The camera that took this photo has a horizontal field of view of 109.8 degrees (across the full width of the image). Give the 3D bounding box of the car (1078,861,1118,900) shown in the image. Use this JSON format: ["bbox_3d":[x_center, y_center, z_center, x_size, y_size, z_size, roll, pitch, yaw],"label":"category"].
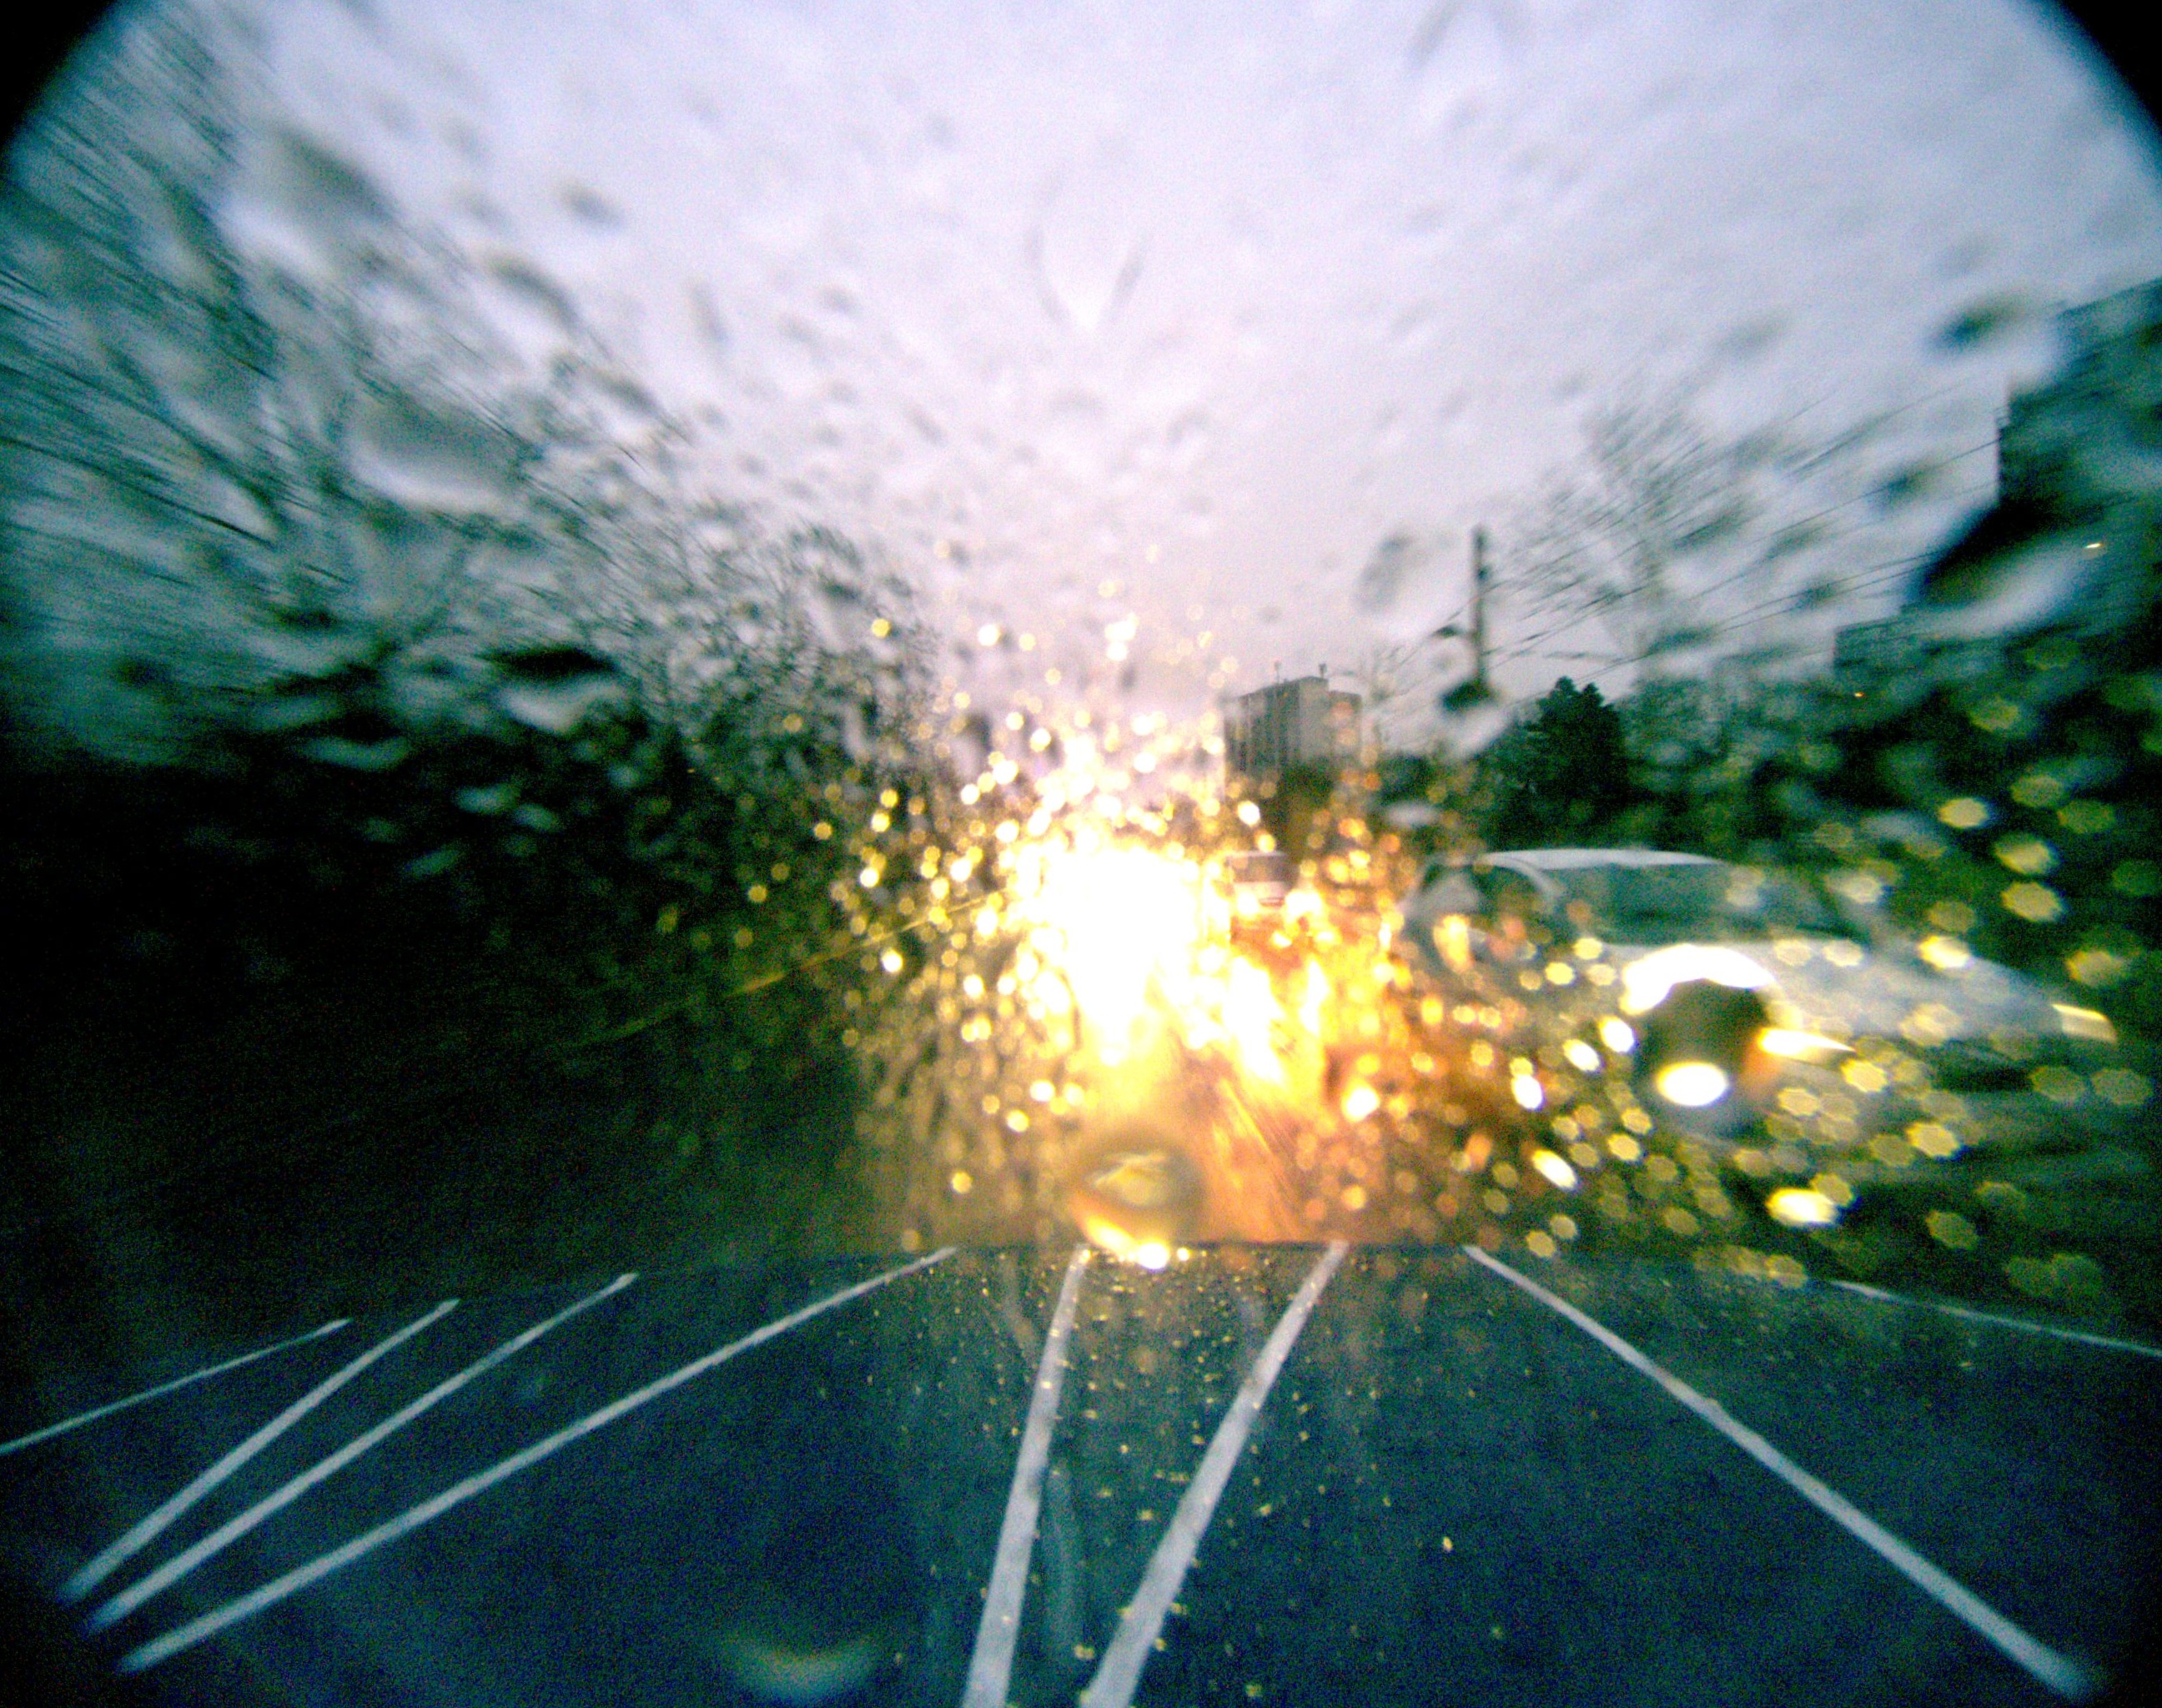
[{"bbox_3d":[0.768,1.133,34.371,1.679,1.590,4.045,-1,0,1],"label":"car"}]

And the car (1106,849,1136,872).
[{"bbox_3d":[2.924,0.487,55.958,1.953,1.590,4.124,-1,0,0],"label":"car"}]

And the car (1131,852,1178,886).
[{"bbox_3d":[3.700,0.715,38.762,1.953,1.590,4.124,-1,0,0],"label":"car"}]

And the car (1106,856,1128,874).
[{"bbox_3d":[3.532,1.083,75.843,1.998,1.652,3.999,-2,1,1],"label":"car"}]

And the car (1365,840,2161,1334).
[{"bbox_3d":[3.337,0.778,4.613,1.718,1.638,4.147,-1,0,1],"label":"car"}]

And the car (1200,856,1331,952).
[{"bbox_3d":[3.416,0.846,14.797,1.693,1.530,4.191,-2,0,3],"label":"car"}]

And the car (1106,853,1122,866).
[{"bbox_3d":[4.410,0.733,102.060,1.998,1.605,3.999,-2,1,1],"label":"car"}]
